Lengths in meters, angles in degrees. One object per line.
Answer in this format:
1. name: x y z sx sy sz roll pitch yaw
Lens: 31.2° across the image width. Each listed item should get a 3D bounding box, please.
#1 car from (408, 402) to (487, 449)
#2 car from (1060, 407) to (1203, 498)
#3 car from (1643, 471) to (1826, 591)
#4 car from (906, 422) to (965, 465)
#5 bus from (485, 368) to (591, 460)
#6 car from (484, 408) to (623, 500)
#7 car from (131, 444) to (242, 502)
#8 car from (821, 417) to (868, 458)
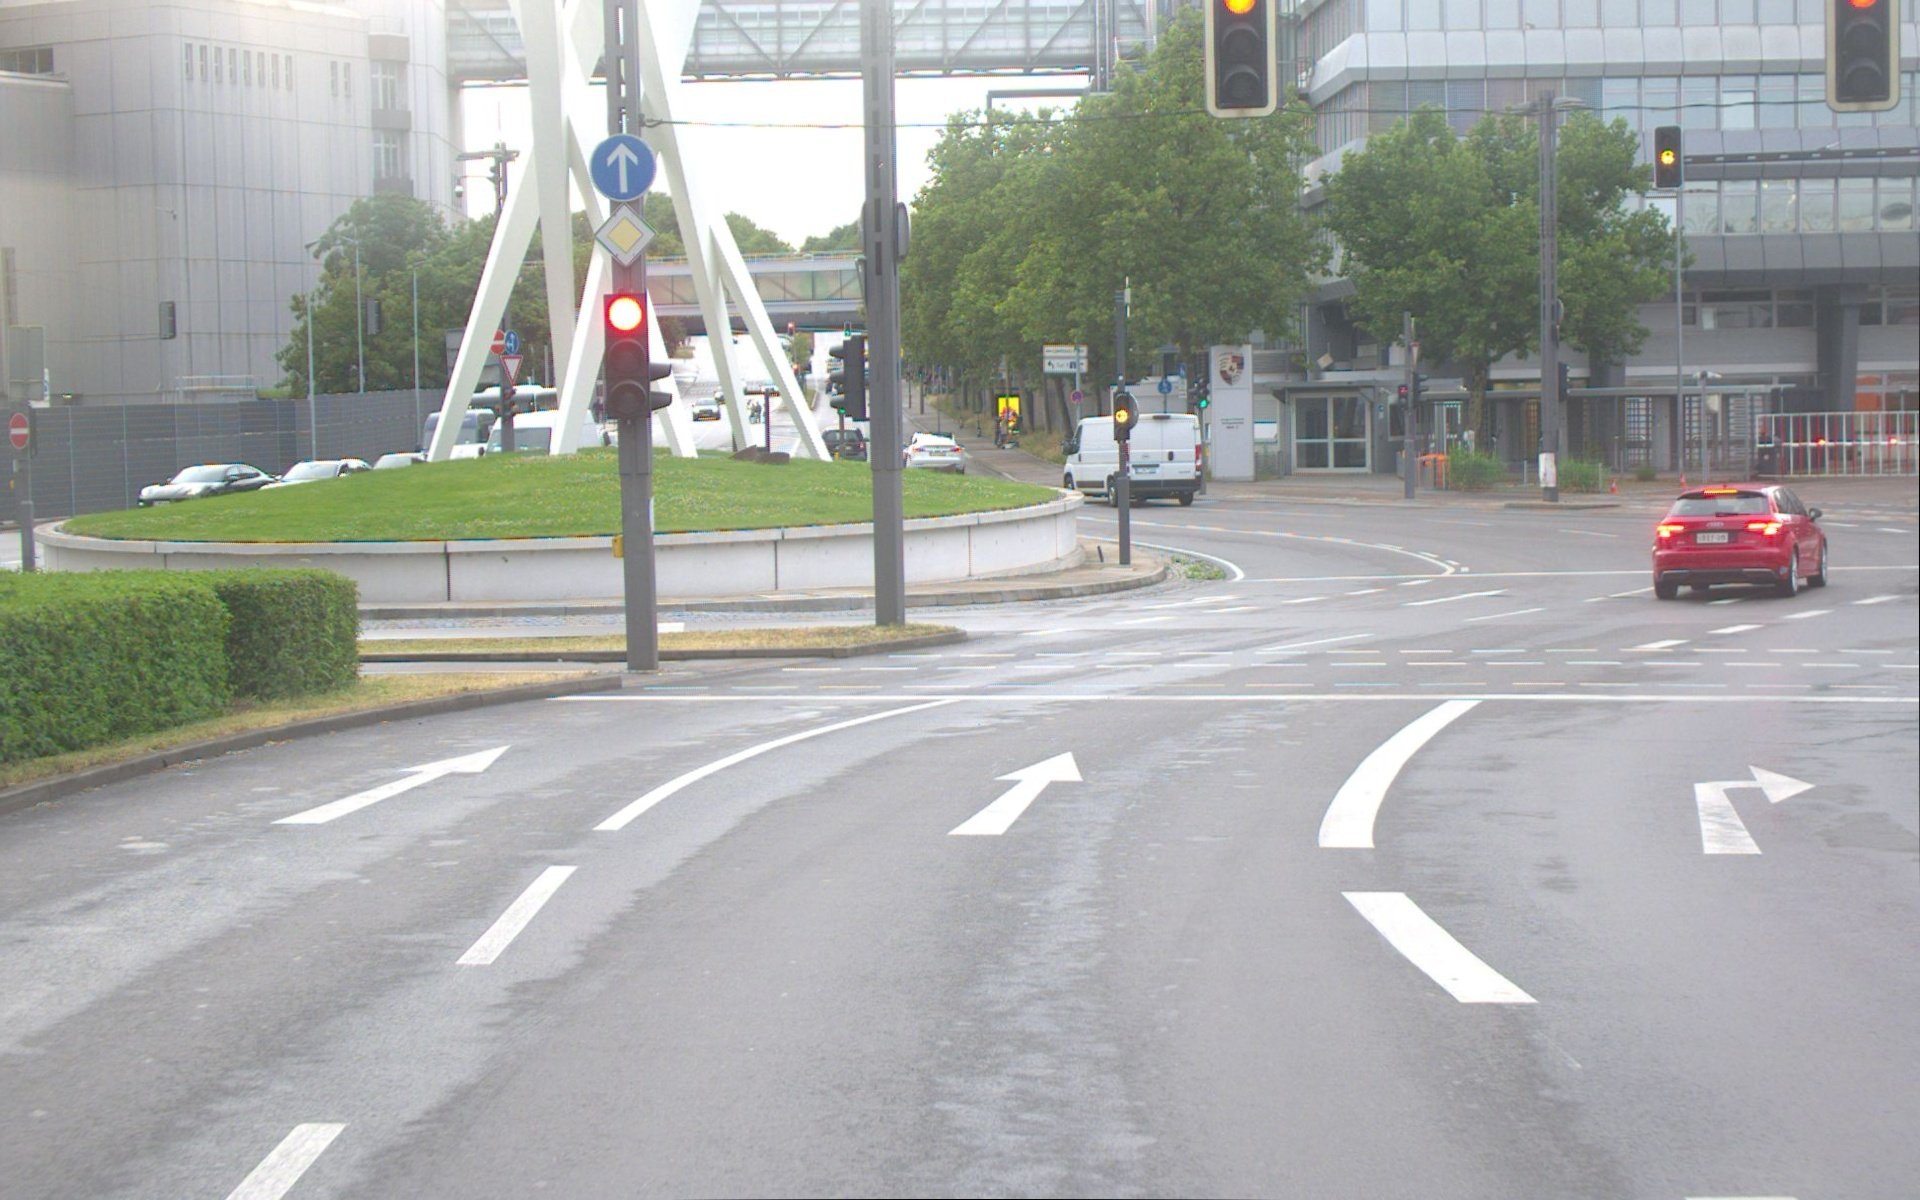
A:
1. car: -16.951 -5.766 113.903 1.833 1.467 4.514 -1 2 1
2. car: 4.168 -3.588 84.458 2.232 2.100 4.956 -1 1 -13
3. car: 9.953 -0.892 44.005 1.774 1.459 3.729 0 1 21
4. car: -0.825 -5.156 113.493 1.667 1.296 3.887 -1 1 -4
5. bus: -15.437 -6.765 126.674 2.668 3.189 12.672 0 2 -2
6. car: -11.218 -4.064 95.321 1.995 2.438 5.424 -1 2 14
7. car: -20.375 -3.353 90.733 1.833 1.467 4.514 -1 2 1
8. car: -3.886 -5.477 116.060 1.557 1.284 3.414 -1 1 -2
